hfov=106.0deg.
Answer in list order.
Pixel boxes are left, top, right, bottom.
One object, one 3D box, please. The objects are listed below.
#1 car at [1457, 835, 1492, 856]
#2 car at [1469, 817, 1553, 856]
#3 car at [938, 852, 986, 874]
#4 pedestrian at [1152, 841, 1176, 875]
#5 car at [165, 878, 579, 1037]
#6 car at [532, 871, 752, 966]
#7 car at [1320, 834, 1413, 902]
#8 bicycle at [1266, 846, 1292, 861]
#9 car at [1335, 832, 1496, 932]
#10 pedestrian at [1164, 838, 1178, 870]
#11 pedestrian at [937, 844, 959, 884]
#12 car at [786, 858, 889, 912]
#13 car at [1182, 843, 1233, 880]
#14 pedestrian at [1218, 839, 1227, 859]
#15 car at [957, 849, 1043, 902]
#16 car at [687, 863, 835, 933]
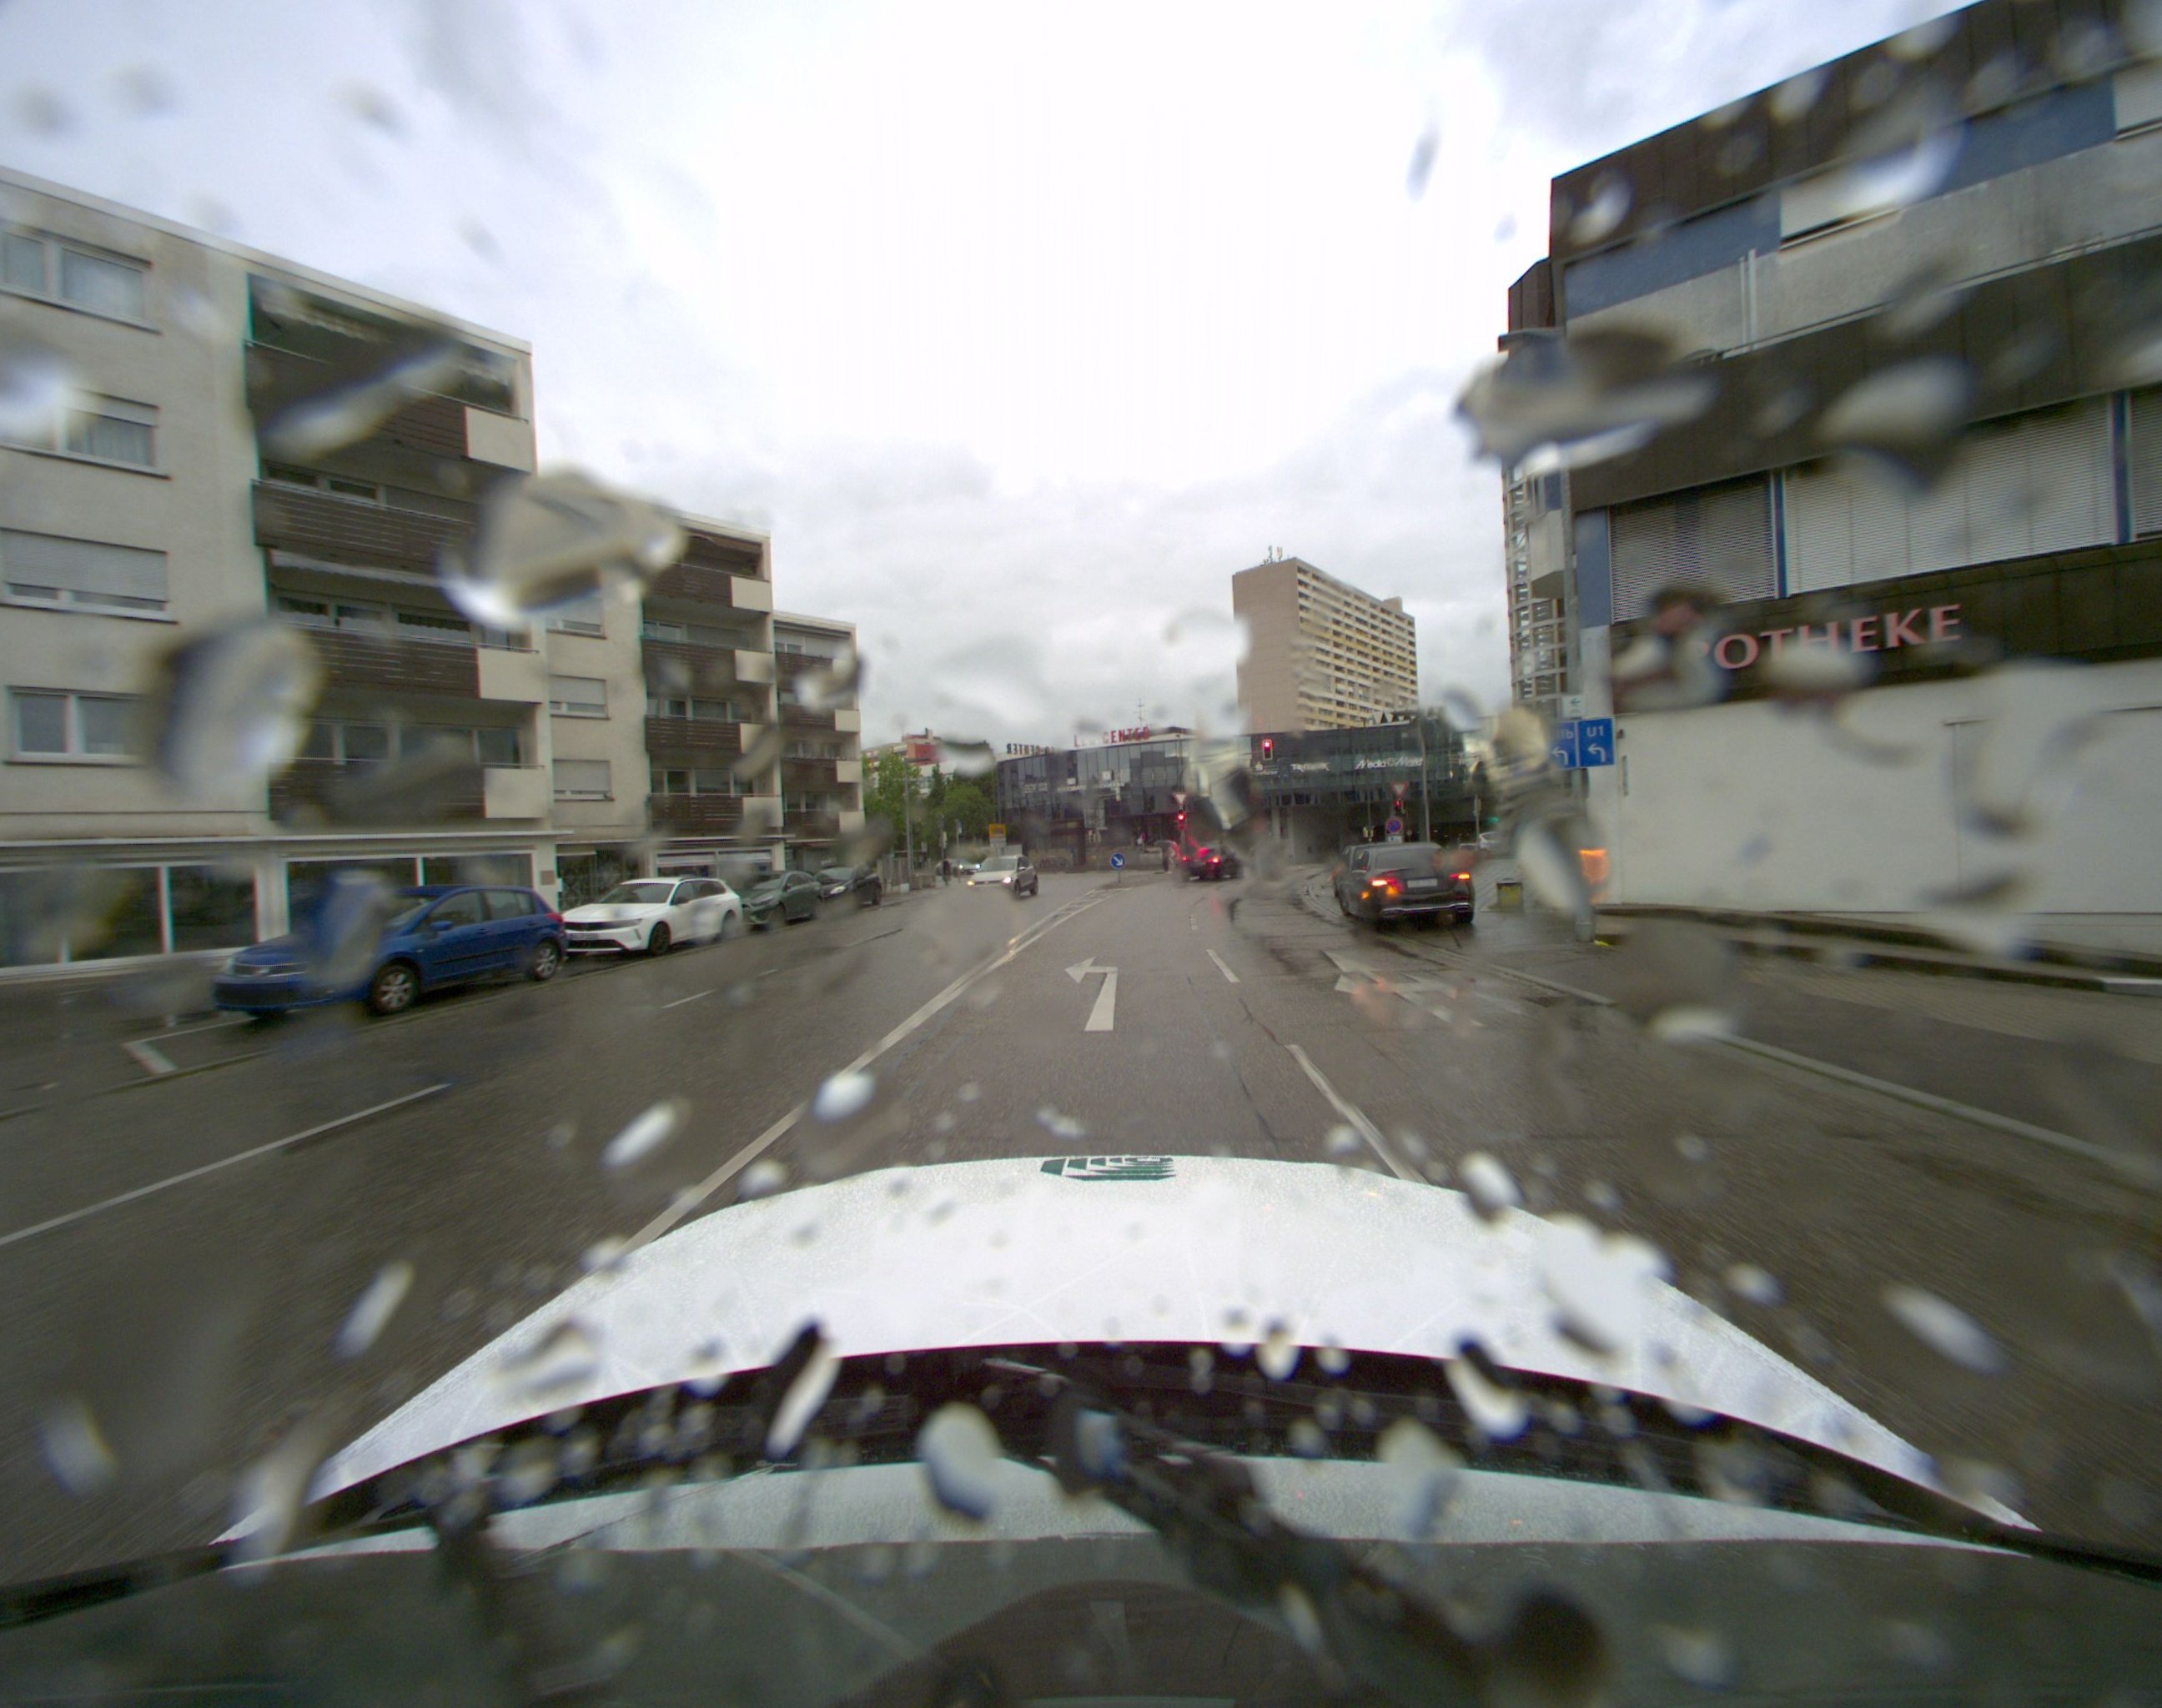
[{"bbox_3d":[35.882,-0.774,74.246,1.974,1.717,4.026,-3,0,38],"label":"car"},{"bbox_3d":[24.747,-0.991,46.880,3.948,2.013,2.013,-2,0,35],"label":"car"},{"bbox_3d":[-9.262,0.665,63.137,2.008,1.511,4.387,0,2,-34],"label":"car"},{"bbox_3d":[4.219,0.193,41.471,0.913,1.659,0.749,0,1,-25],"label":"pedestrian"},{"bbox_3d":[-9.107,1.201,11.085,1.645,1.521,4.327,-2,0,3],"label":"car"},{"bbox_3d":[-8.692,1.197,16.711,1.686,1.464,4.688,-2,0,3],"label":"car"},{"bbox_3d":[7.520,0.309,21.791,1.687,1.486,4.013,-6,0,12],"label":"car"},{"bbox_3d":[19.882,-0.068,81.658,2.415,1.464,0.656,-2,2,1],"label":"bicycle"},{"bbox_3d":[5.977,0.467,15.163,1.980,1.533,4.663,-2,-1,13],"label":"car"},{"bbox_3d":[4.650,-0.018,42.309,0.608,1.659,0.672,1,1,-2],"label":"pedestrian"},{"bbox_3d":[-6.945,0.519,42.577,0.742,2.013,0.926,1,0,24],"label":"pedestrian"},{"bbox_3d":[-8.072,0.983,27.440,1.926,1.541,4.277,-2,0,3],"label":"car"},{"bbox_3d":[5.441,0.275,34.569,1.792,1.419,4.014,-3,0,13],"label":"car"},{"bbox_3d":[14.335,-0.487,82.455,0.782,2.013,0.673,-3,0,13],"label":"pedestrian"},{"bbox_3d":[-2.684,0.684,27.950,1.813,1.439,3.853,-4,1,11],"label":"car"},{"bbox_3d":[-8.459,1.097,22.019,1.926,1.541,4.525,-2,0,3],"label":"car"}]
